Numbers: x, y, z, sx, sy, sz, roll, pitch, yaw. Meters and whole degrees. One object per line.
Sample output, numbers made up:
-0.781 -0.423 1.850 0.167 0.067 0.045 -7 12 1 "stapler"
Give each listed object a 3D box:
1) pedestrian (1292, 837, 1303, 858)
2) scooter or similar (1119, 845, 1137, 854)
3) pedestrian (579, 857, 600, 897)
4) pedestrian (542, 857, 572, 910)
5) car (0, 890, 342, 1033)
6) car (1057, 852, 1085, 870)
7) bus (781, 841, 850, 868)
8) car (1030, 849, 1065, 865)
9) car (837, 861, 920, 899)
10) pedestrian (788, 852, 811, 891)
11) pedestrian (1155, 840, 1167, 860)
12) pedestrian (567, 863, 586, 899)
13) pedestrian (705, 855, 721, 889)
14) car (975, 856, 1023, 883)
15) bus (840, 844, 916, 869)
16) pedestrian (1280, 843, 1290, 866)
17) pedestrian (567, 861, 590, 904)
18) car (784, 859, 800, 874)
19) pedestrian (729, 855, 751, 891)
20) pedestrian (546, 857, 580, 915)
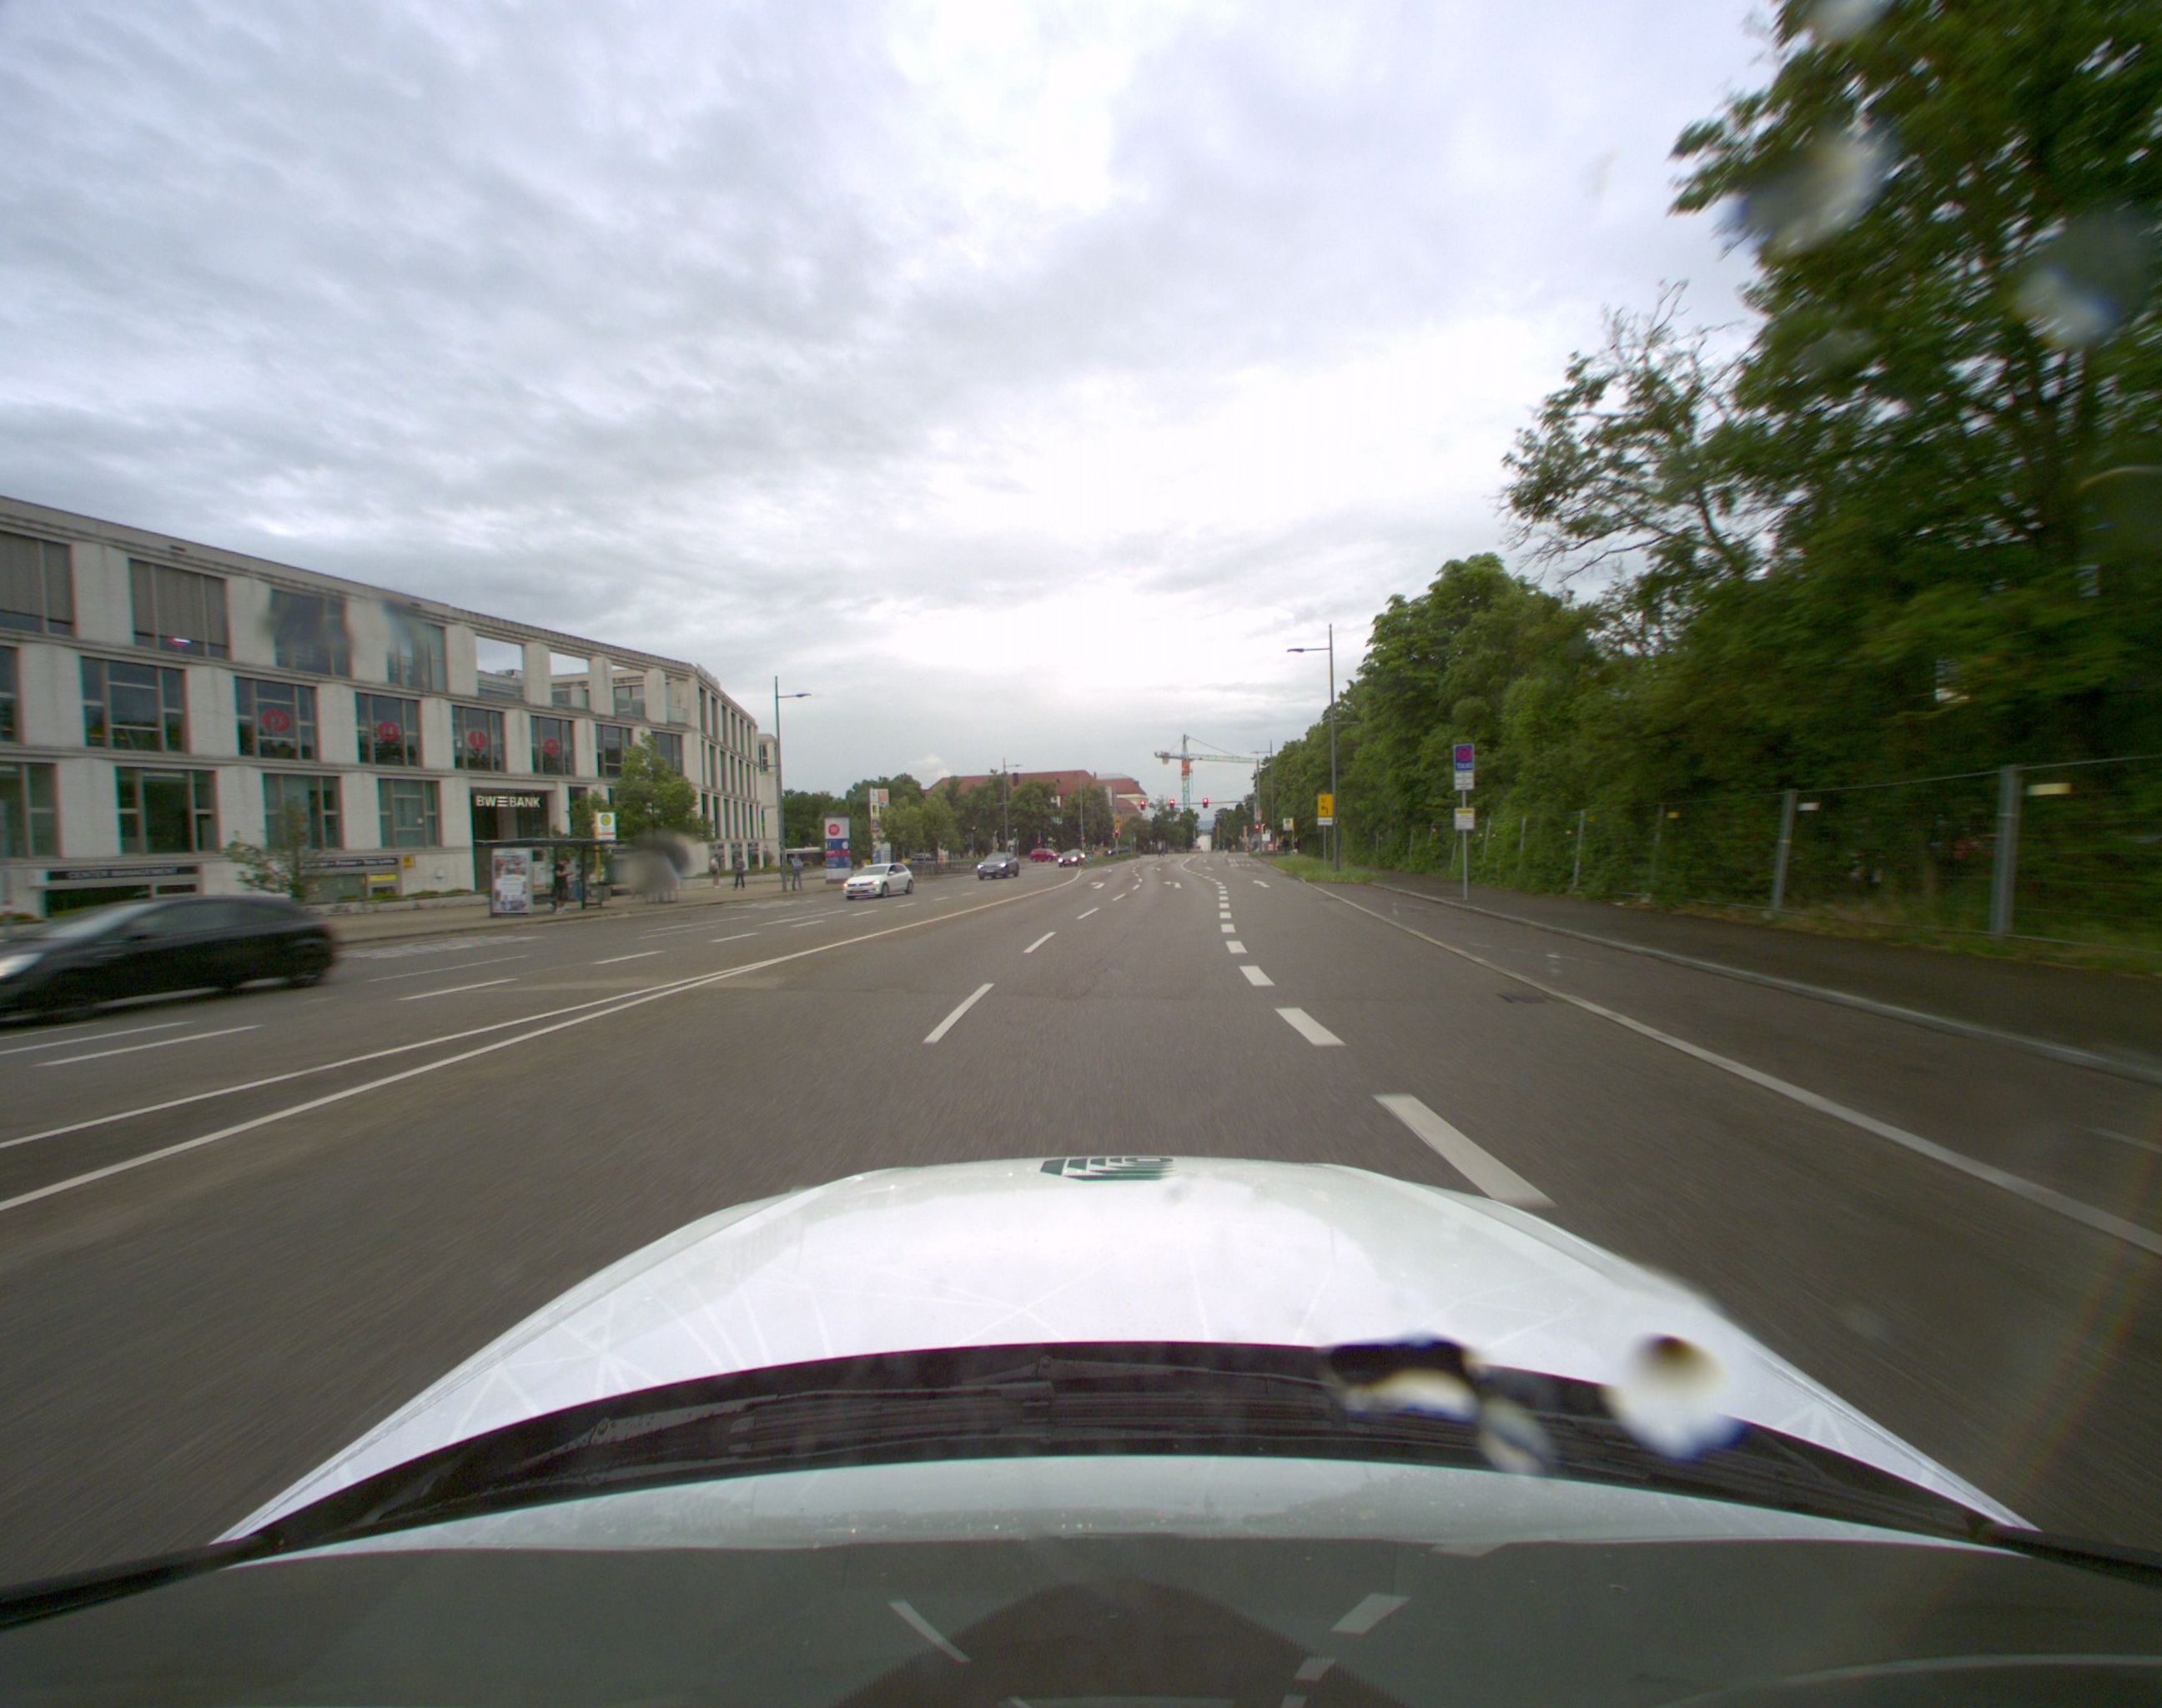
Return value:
17.376 -0.520 65.257 0.672 1.658 0.794 -2 0 4 "pedestrian"
8.388 -0.813 145.089 3.070 1.440 0.951 -2 0 8 "scooter or similar"
-21.211 0.981 35.136 0.423 1.725 0.622 -2 0 10 "pedestrian"
-18.627 1.035 28.950 0.577 1.856 0.608 -2 0 7 "pedestrian"
-12.869 1.340 11.019 1.835 1.462 3.877 -3 -1 10 "car"
-0.891 0.642 77.390 1.820 1.416 4.478 -4 0 10 "car"
-36.928 0.056 113.224 8.502 3.307 2.903 -2 0 7 "bus"
-4.294 0.419 103.441 3.948 1.917 2.013 -2 -1 32 "car"
-8.720 1.094 35.412 1.862 1.430 4.187 -4 -1 10 "car"
-13.744 0.858 39.774 0.748 1.842 0.749 -2 0 12 "pedestrian"
8.204 -0.400 83.957 0.933 2.013 0.850 -5 0 15 "pedestrian"
-21.270 1.133 34.337 0.423 1.451 0.511 -2 0 10 "pedestrian"
-19.143 0.925 42.375 0.496 1.690 0.913 -2 0 -7 "pedestrian"
-5.286 0.995 52.988 1.820 1.572 4.606 -4 -1 10 "car"
-27.764 0.347 111.554 9.664 3.103 2.906 -2 0 10 "bus"
17.479 0.029 69.756 0.637 1.901 0.719 -2 0 4 "pedestrian"
-20.726 1.162 33.575 0.521 1.725 0.568 -2 0 12 "pedestrian"
-35.970 1.579 101.353 1.778 1.731 3.975 -2 0 -18 "car"
-17.140 0.948 40.933 0.594 1.762 0.860 -2 0 12 "pedestrian"
-16.982 1.046 26.710 0.504 1.842 0.757 -2 0 9 "pedestrian"
